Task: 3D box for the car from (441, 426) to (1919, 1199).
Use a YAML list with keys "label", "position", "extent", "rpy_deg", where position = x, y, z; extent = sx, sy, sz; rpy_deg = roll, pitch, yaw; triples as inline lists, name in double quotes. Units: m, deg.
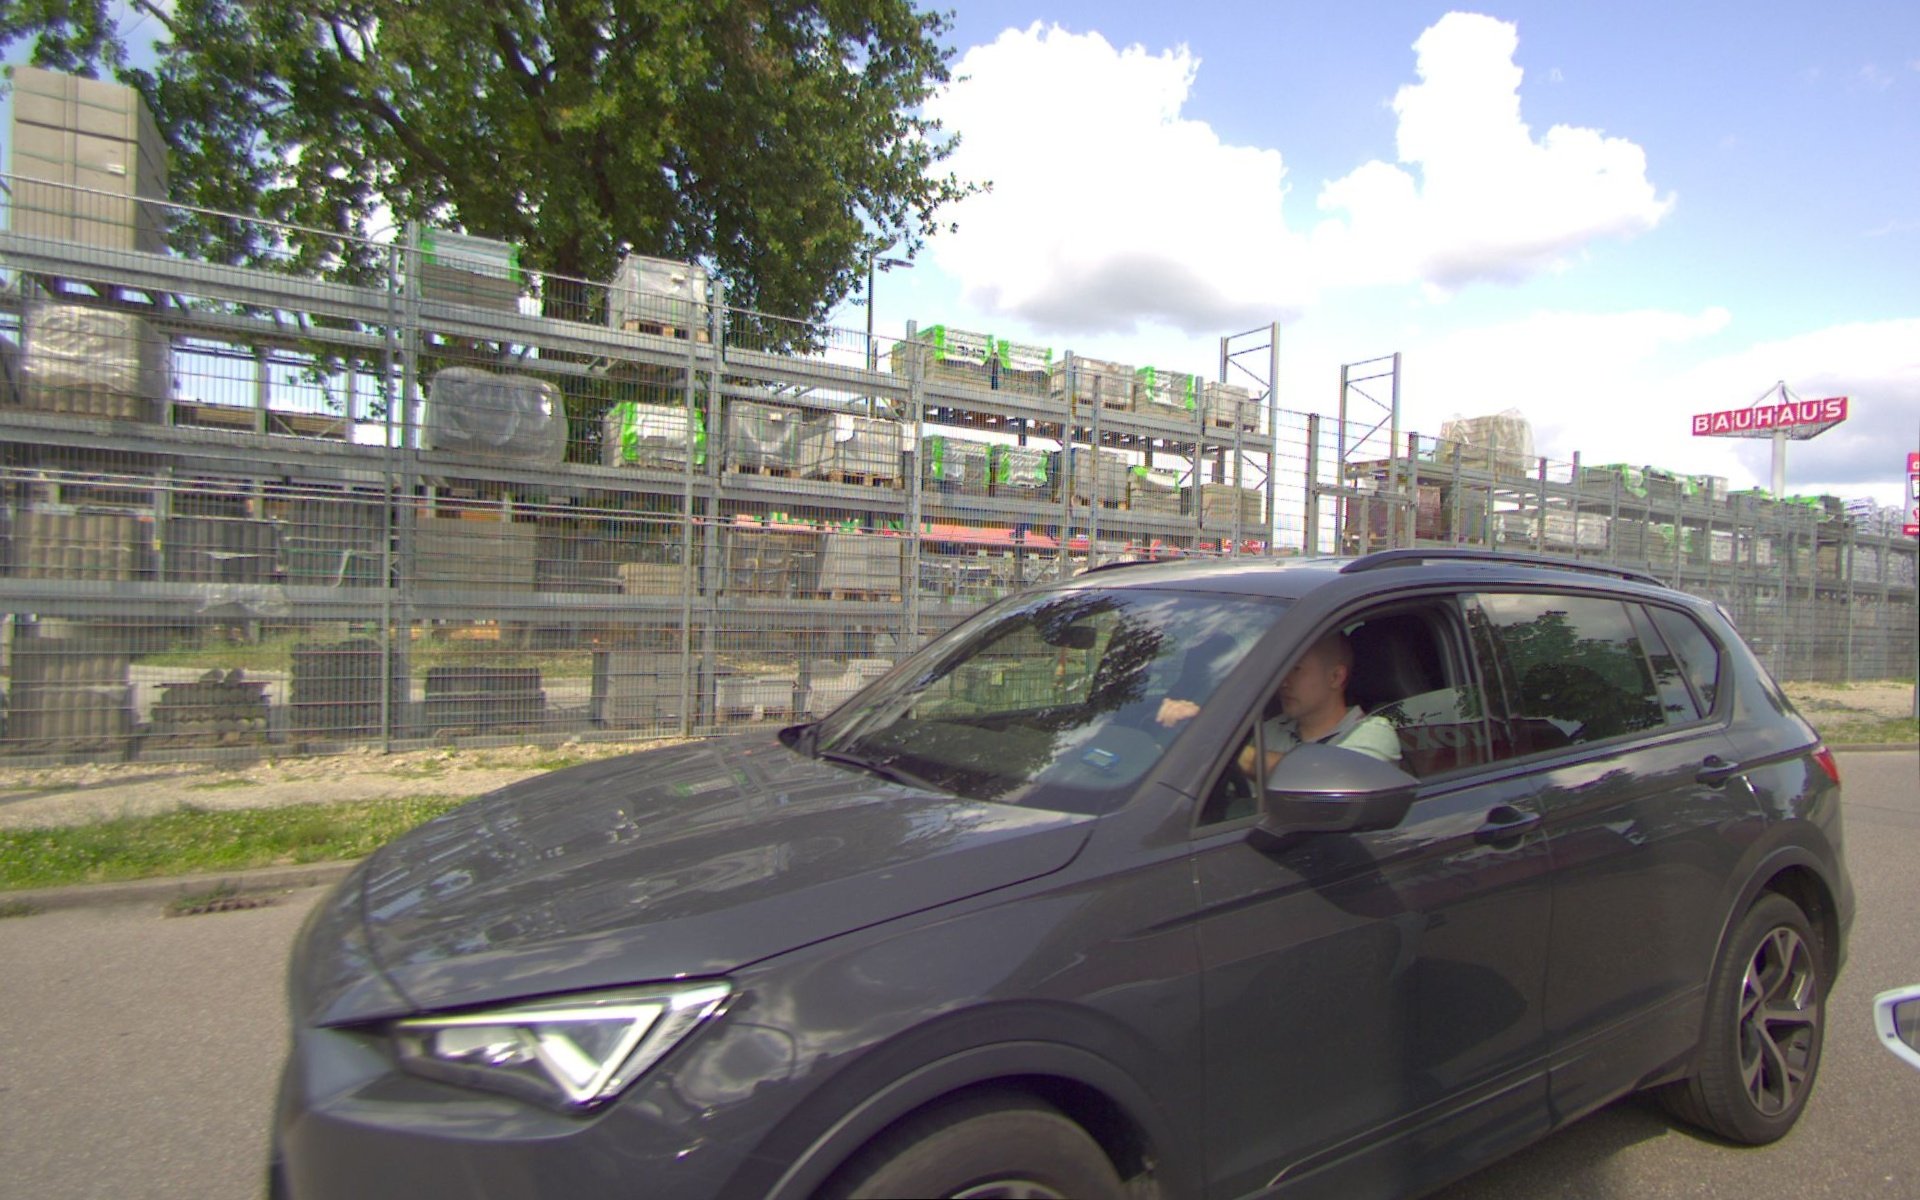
- label: "car"
  position: [0.898, 0.658, 3.054]
  extent: [4.322, 1.640, 1.906]
  rpy_deg: [1, 0, -30]
